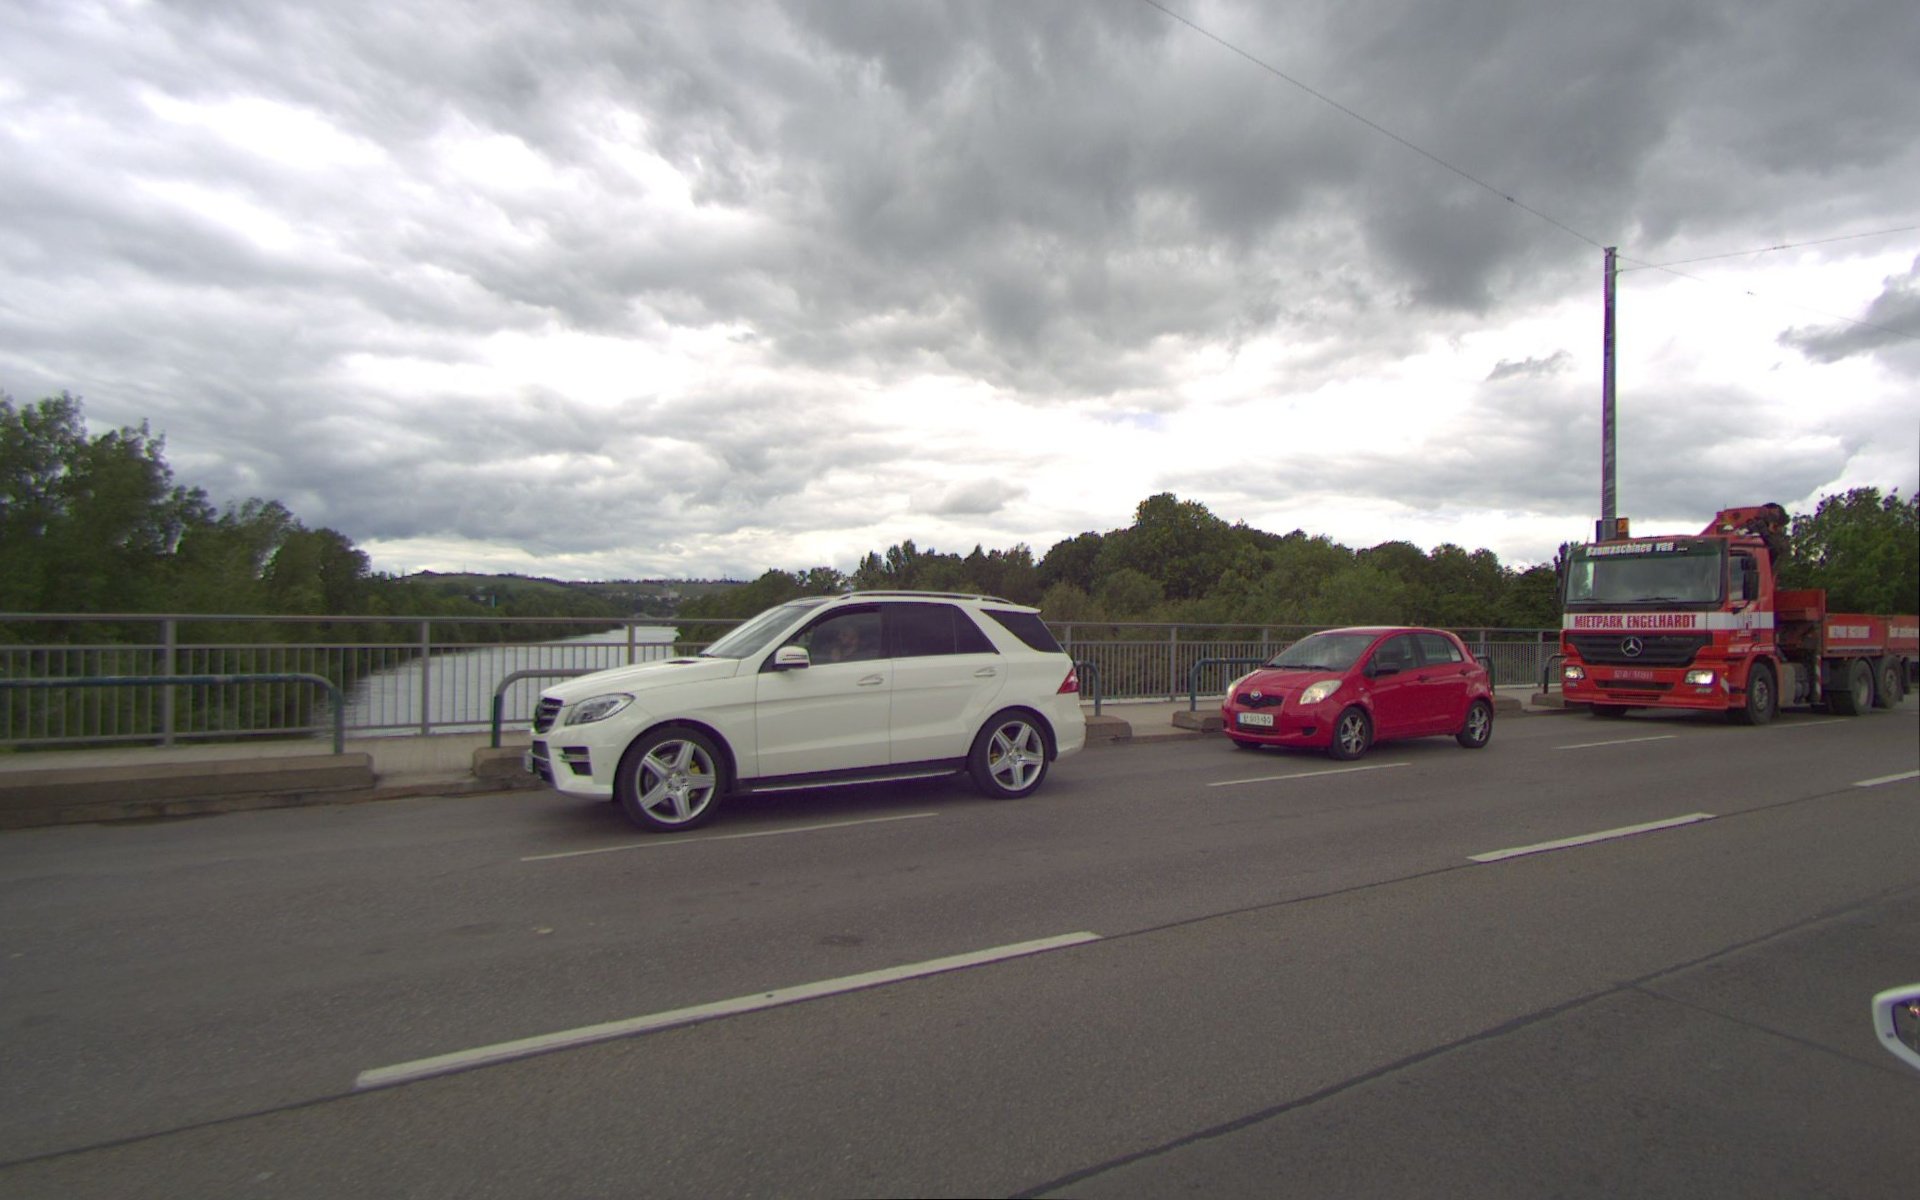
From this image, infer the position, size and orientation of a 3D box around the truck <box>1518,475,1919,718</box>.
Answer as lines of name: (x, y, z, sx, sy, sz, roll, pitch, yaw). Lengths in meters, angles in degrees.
truck: (14.731, 0.049, 18.820, 9.868, 3.613, 2.991, 1, -2, -31)

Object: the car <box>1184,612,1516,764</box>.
car: (4.919, 0.988, 12.585, 3.969, 1.624, 1.870, 1, -2, -31)

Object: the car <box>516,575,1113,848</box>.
car: (-1.121, 0.785, 8.638, 4.748, 1.784, 1.870, 1, -2, -31)
